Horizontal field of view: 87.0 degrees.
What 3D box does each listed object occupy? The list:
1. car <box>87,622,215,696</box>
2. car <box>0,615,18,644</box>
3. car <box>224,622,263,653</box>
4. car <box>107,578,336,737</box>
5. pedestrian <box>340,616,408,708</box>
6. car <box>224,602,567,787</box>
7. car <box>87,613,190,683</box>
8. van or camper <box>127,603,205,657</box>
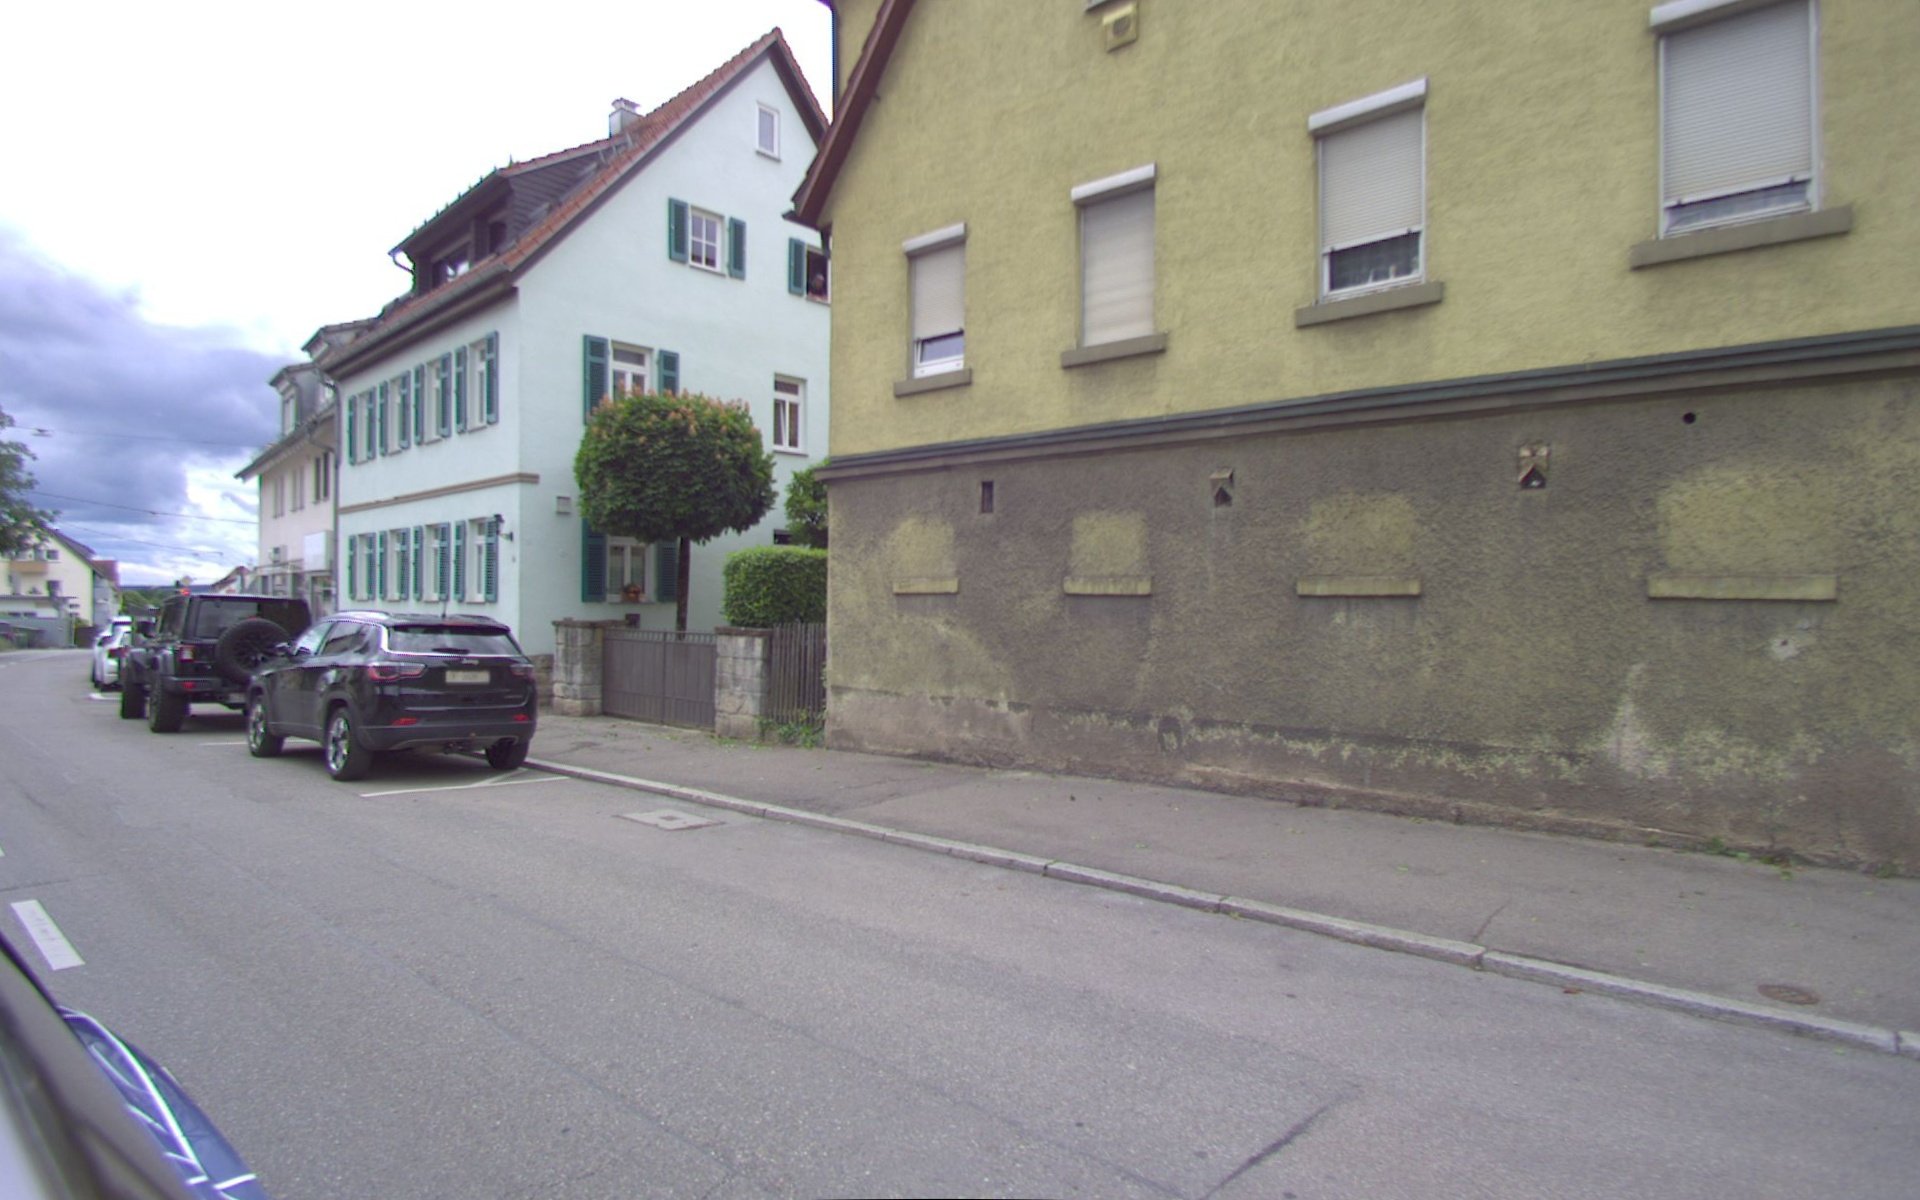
[{"bbox_3d":[-18.064,1.241,22.543,1.974,1.447,3.923,0,-1,-43],"label":"car"},{"bbox_3d":[-59.579,1.831,62.495,1.724,1.753,4.579,3,-5,-39],"label":"car"},{"bbox_3d":[-50.134,2.667,70.869,1.787,2.021,4.776,3,-4,-31],"label":"car"},{"bbox_3d":[-11.264,0.828,15.300,4.672,2.029,1.971,-1,-4,44],"label":"car"},{"bbox_3d":[-10.206,1.044,17.615,0.796,1.511,0.977,-1,1,-43],"label":"pedestrian"},{"bbox_3d":[-6.336,0.944,11.135,4.523,1.631,1.877,-3,-4,41],"label":"car"},{"bbox_3d":[-21.732,1.204,26.720,1.973,1.645,4.865,0,-1,-40],"label":"car"},{"bbox_3d":[-32.882,1.204,42.031,2.045,2.021,4.871,3,-2,-33],"label":"van or camper"}]
